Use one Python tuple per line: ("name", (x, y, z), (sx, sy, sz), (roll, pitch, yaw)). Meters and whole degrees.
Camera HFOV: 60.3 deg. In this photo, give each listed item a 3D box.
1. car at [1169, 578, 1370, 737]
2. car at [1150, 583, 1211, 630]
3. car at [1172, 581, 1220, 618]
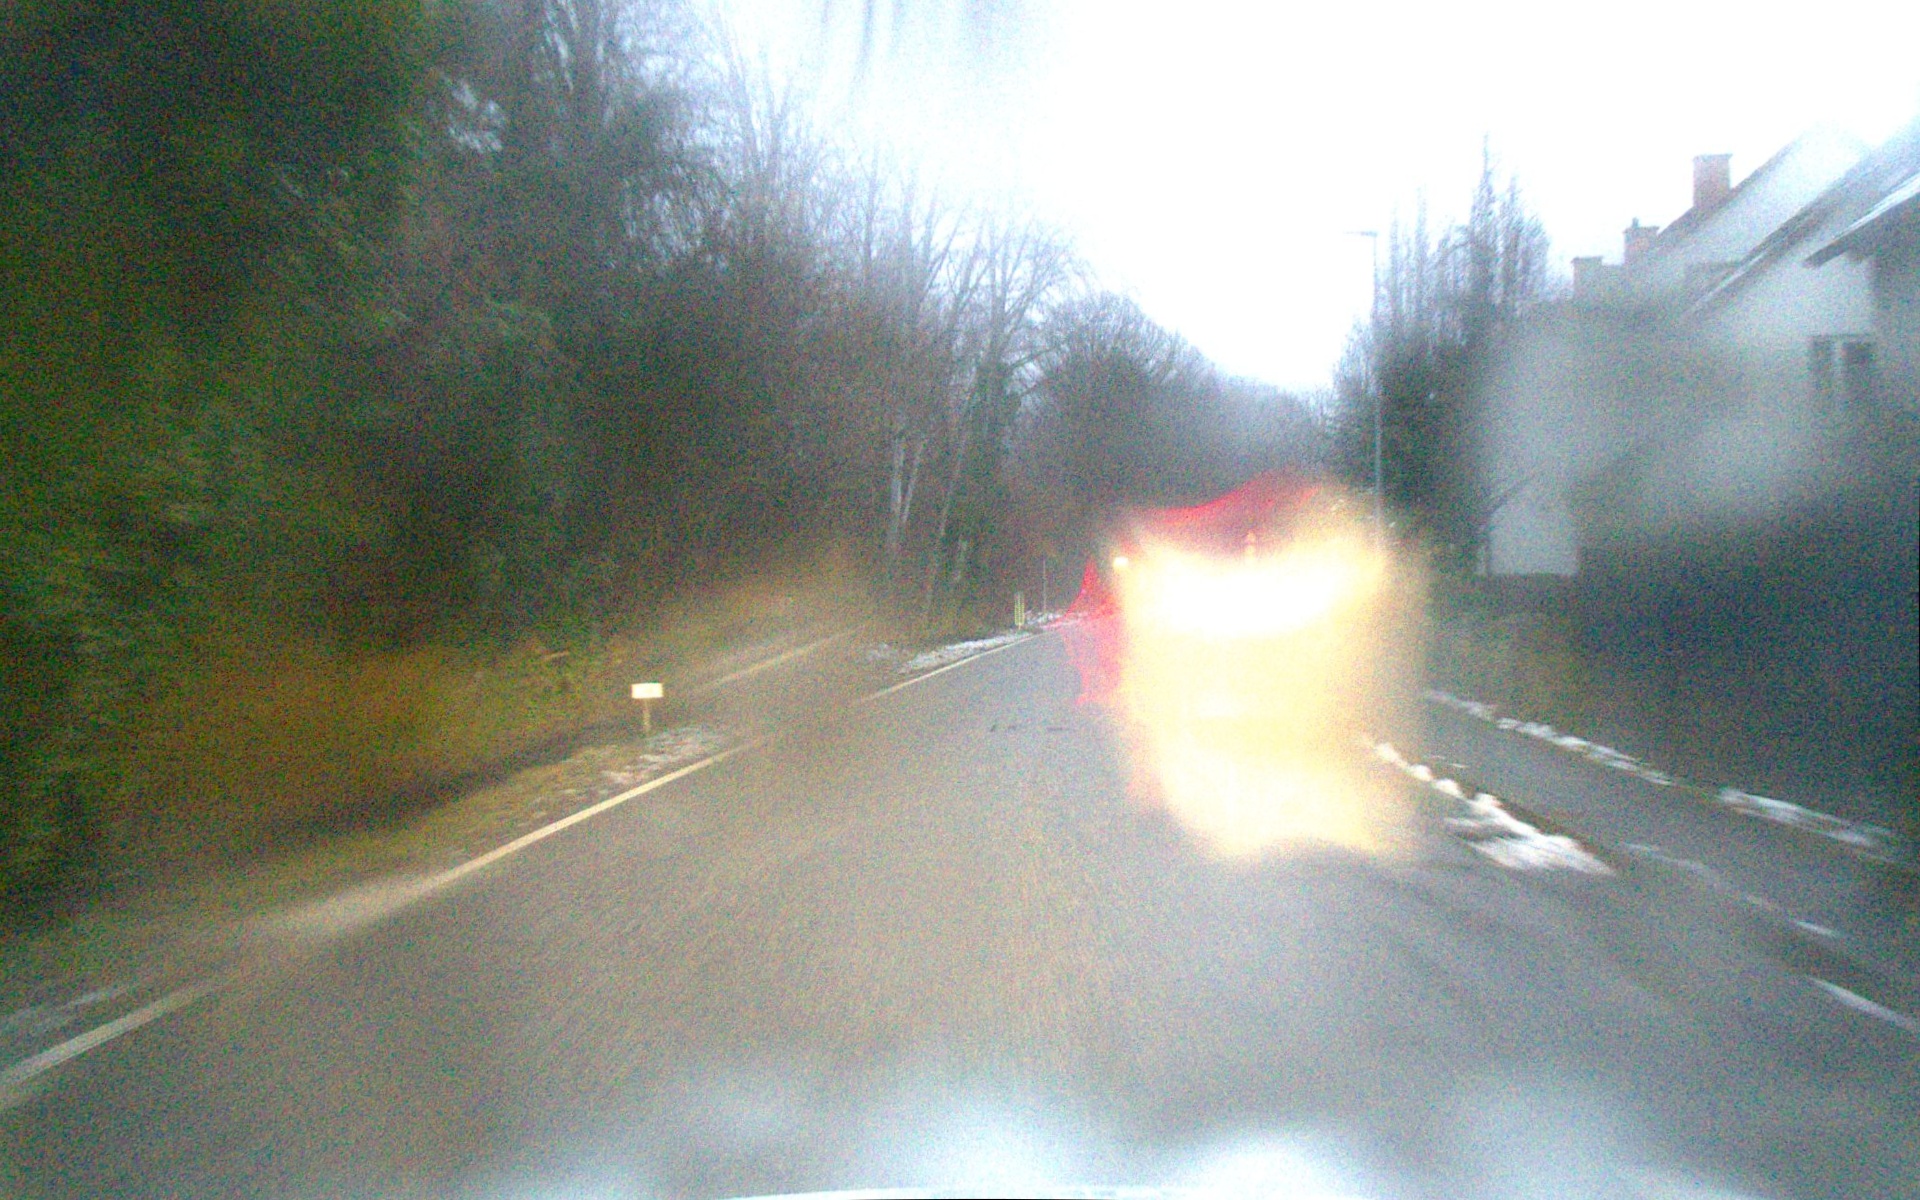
("car", (3.279, 0.562, 18.179), (1.668, 1.532, 4.026), (1, 0, 3))
("car", (8.994, 0.240, 67.232), (1.892, 1.812, 4.003), (0, 1, 16))
("car", (12.116, -0.048, 84.617), (1.655, 1.805, 3.861), (0, 1, 20))
